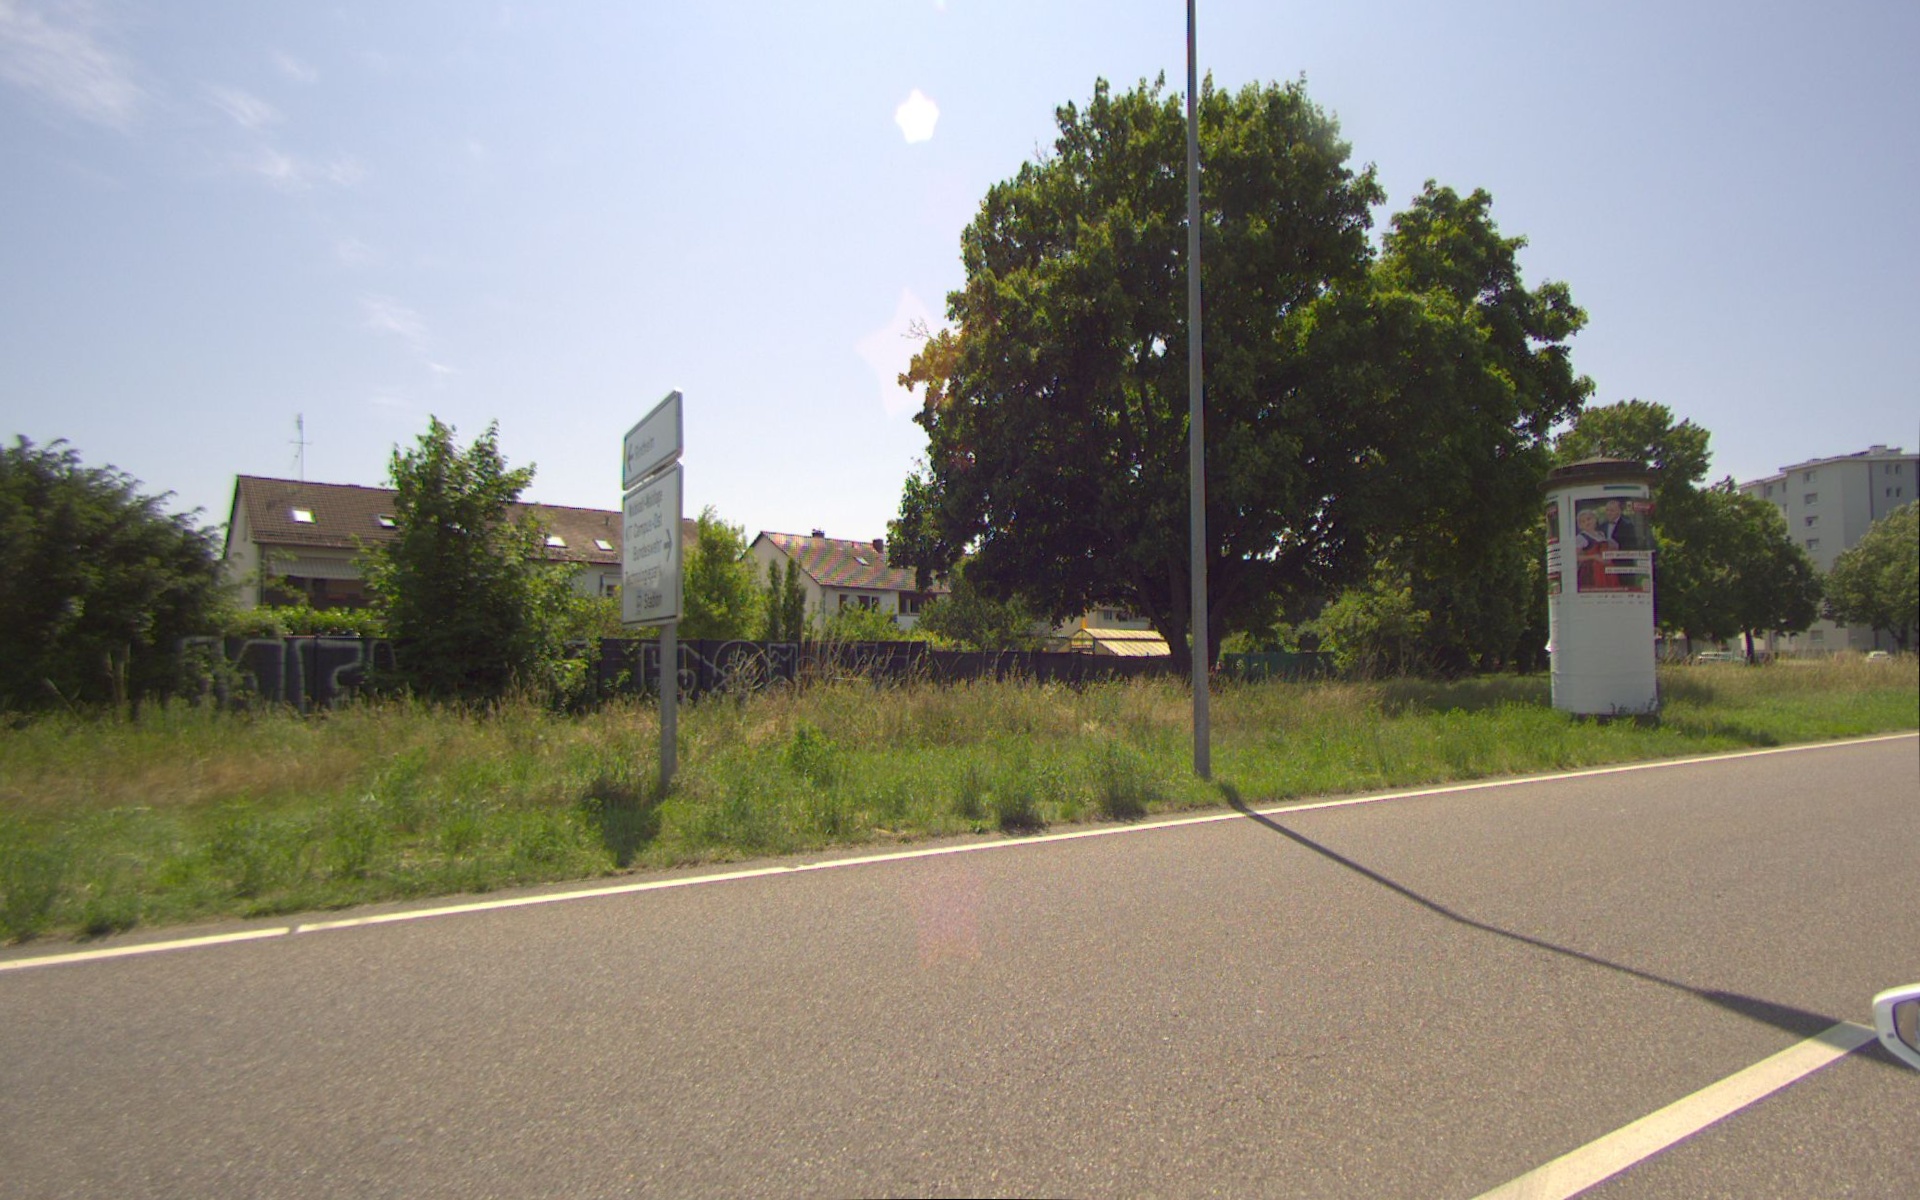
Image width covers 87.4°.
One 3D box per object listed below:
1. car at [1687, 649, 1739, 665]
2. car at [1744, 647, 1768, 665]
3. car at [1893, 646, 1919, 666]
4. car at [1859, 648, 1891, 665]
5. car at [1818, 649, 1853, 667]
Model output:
[{"bbox_3d":[71.552,5.416,95.492,3.836,1.488,1.769,-2,-3,37],"label":"car"},{"bbox_3d":[80.664,5.650,101.797,1.824,1.733,3.983,-1,-2,38],"label":"car"},{"bbox_3d":[88.947,5.224,94.239,1.684,1.824,3.983,-1,-3,38],"label":"car"},{"bbox_3d":[87.232,5.355,95.790,1.681,1.613,3.988,-1,-3,34],"label":"car"},{"bbox_3d":[85.235,5.632,97.794,1.820,1.690,3.992,-2,-4,31],"label":"car"}]
